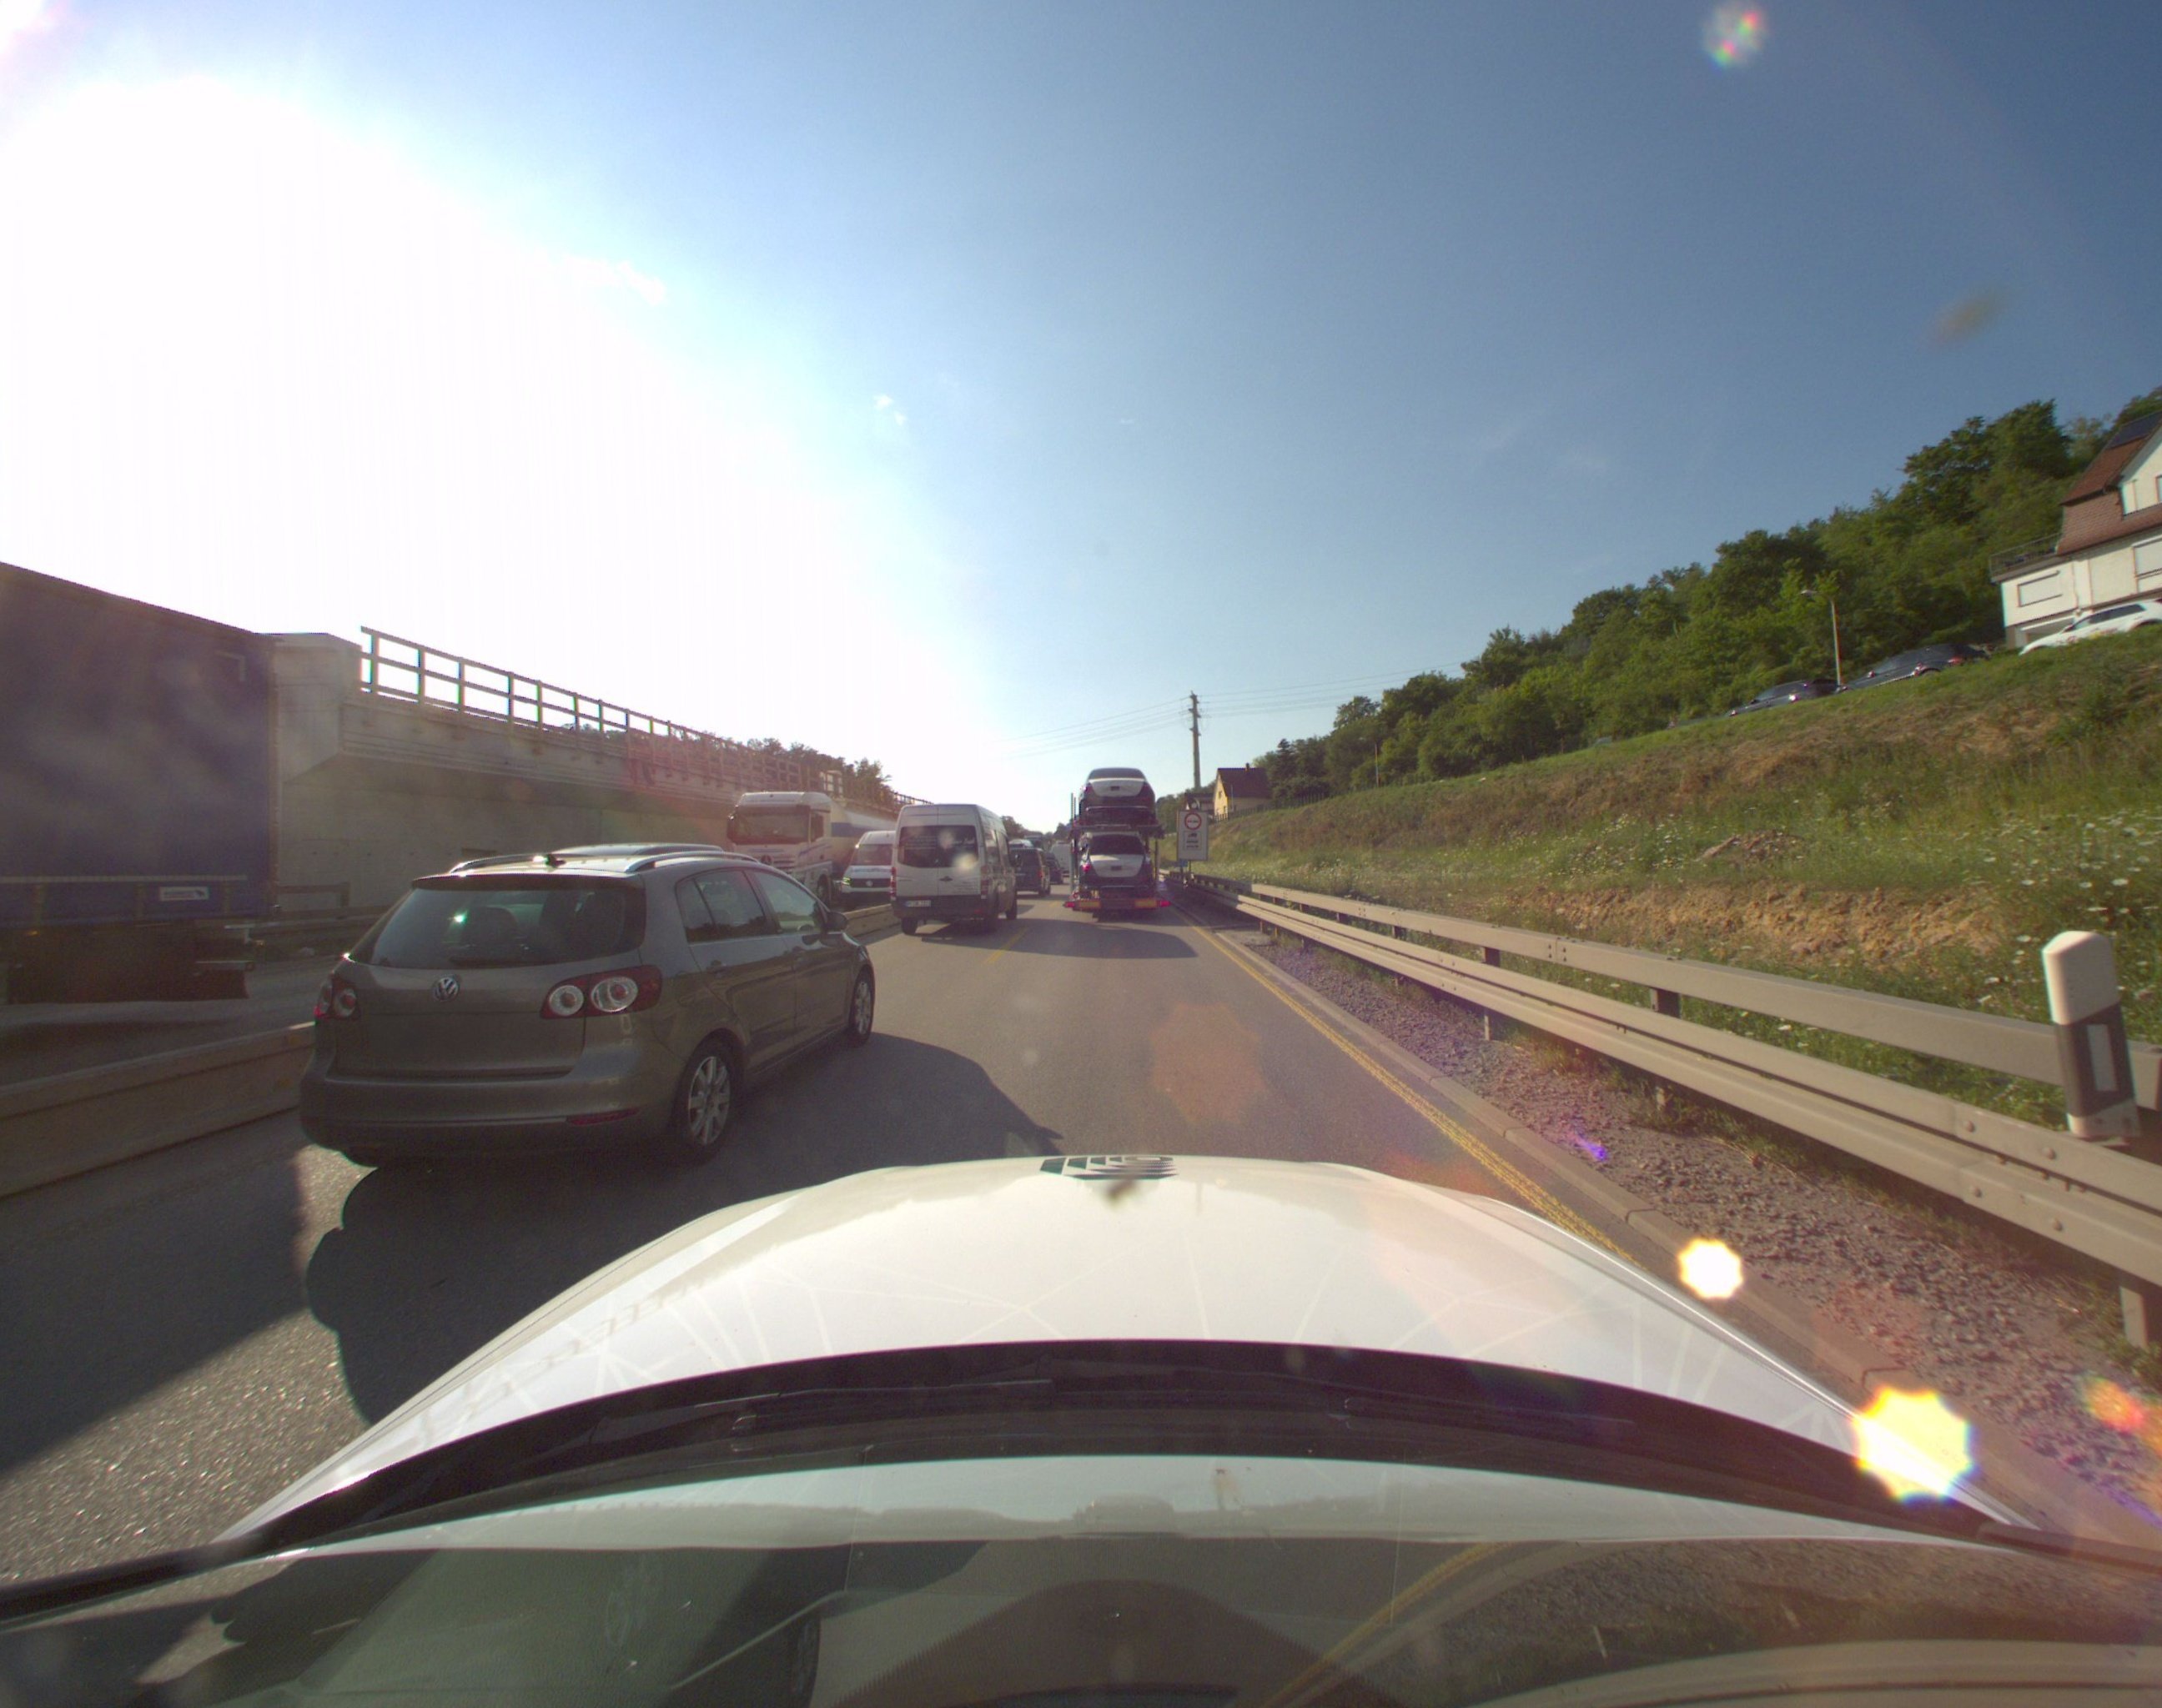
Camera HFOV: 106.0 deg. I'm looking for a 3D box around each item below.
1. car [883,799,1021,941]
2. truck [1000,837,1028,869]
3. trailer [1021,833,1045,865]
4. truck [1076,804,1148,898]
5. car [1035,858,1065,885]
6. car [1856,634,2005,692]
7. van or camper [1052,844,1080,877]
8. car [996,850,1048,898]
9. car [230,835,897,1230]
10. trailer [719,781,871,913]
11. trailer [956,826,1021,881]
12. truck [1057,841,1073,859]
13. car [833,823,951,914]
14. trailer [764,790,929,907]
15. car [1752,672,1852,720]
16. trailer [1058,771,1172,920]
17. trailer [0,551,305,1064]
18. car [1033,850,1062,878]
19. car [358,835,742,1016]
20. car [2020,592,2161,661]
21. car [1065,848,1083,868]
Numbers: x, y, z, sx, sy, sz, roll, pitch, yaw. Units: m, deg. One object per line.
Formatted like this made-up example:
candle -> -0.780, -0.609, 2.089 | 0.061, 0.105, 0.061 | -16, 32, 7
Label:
car -> -2.669, 0.279, 18.336 | 1.986, 2.648, 5.532 | -2, 0, 2
truck -> -7.320, -0.086, 89.836 | 2.539, 3.409, 5.532 | 0, -1, 1
trailer -> -6.613, -0.710, 111.921 | 2.755, 4.141, 5.978 | 0, 1, 1
truck -> 1.281, -0.099, 34.449 | 2.672, 3.535, 7.196 | -1, 0, 2
car -> -1.934, 1.069, 51.394 | 1.720, 1.522, 3.973 | 0, 0, 0
car -> 32.400, -7.252, 31.216 | 1.344, 1.232, 3.887 | 0, -1, -10
van or camper -> -1.226, 0.521, 67.317 | 1.960, 2.591, 5.045 | 0, -1, 3
car -> -2.395, 0.808, 33.979 | 1.802, 1.904, 4.000 | 0, -1, 1
car -> -2.632, 0.768, 5.502 | 1.674, 1.588, 4.273 | -1, -1, 1
trailer -> -9.235, -0.183, 27.167 | 2.643, 3.850, 6.431 | 0, -1, 1
trailer -> -7.409, 0.020, 67.893 | 2.760, 4.031, 15.774 | 0, 0, 3
truck -> -3.078, -0.726, 161.503 | 2.706, 3.424, 8.141 | -4, -1, 1
car -> -6.060, 0.446, 27.220 | 1.986, 2.623, 7.412 | 0, -1, 2
trailer -> -9.059, -0.130, 33.822 | 2.642, 3.850, 13.446 | 0, 0, 1
car -> 31.896, -6.944, 36.122 | 1.356, 1.458, 3.225 | 0, -1, -7
trailer -> 1.055, -0.158, 27.036 | 2.672, 3.535, 15.294 | -1, 0, 2
trailer -> -10.092, -0.394, 1.968 | 2.914, 4.037, 13.778 | 0, 0, 2
car -> -3.175, 0.890, 77.242 | 2.463, 2.534, 4.001 | -1, 0, 1
car -> -6.444, 0.747, 10.761 | 1.774, 1.843, 4.855 | 0, -1, 2
car -> 33.072, -7.299, 26.034 | 1.344, 1.232, 3.887 | 0, -1, -10
car -> -0.713, 0.407, 90.136 | 1.879, 2.100, 3.766 | -1, 0, 1
